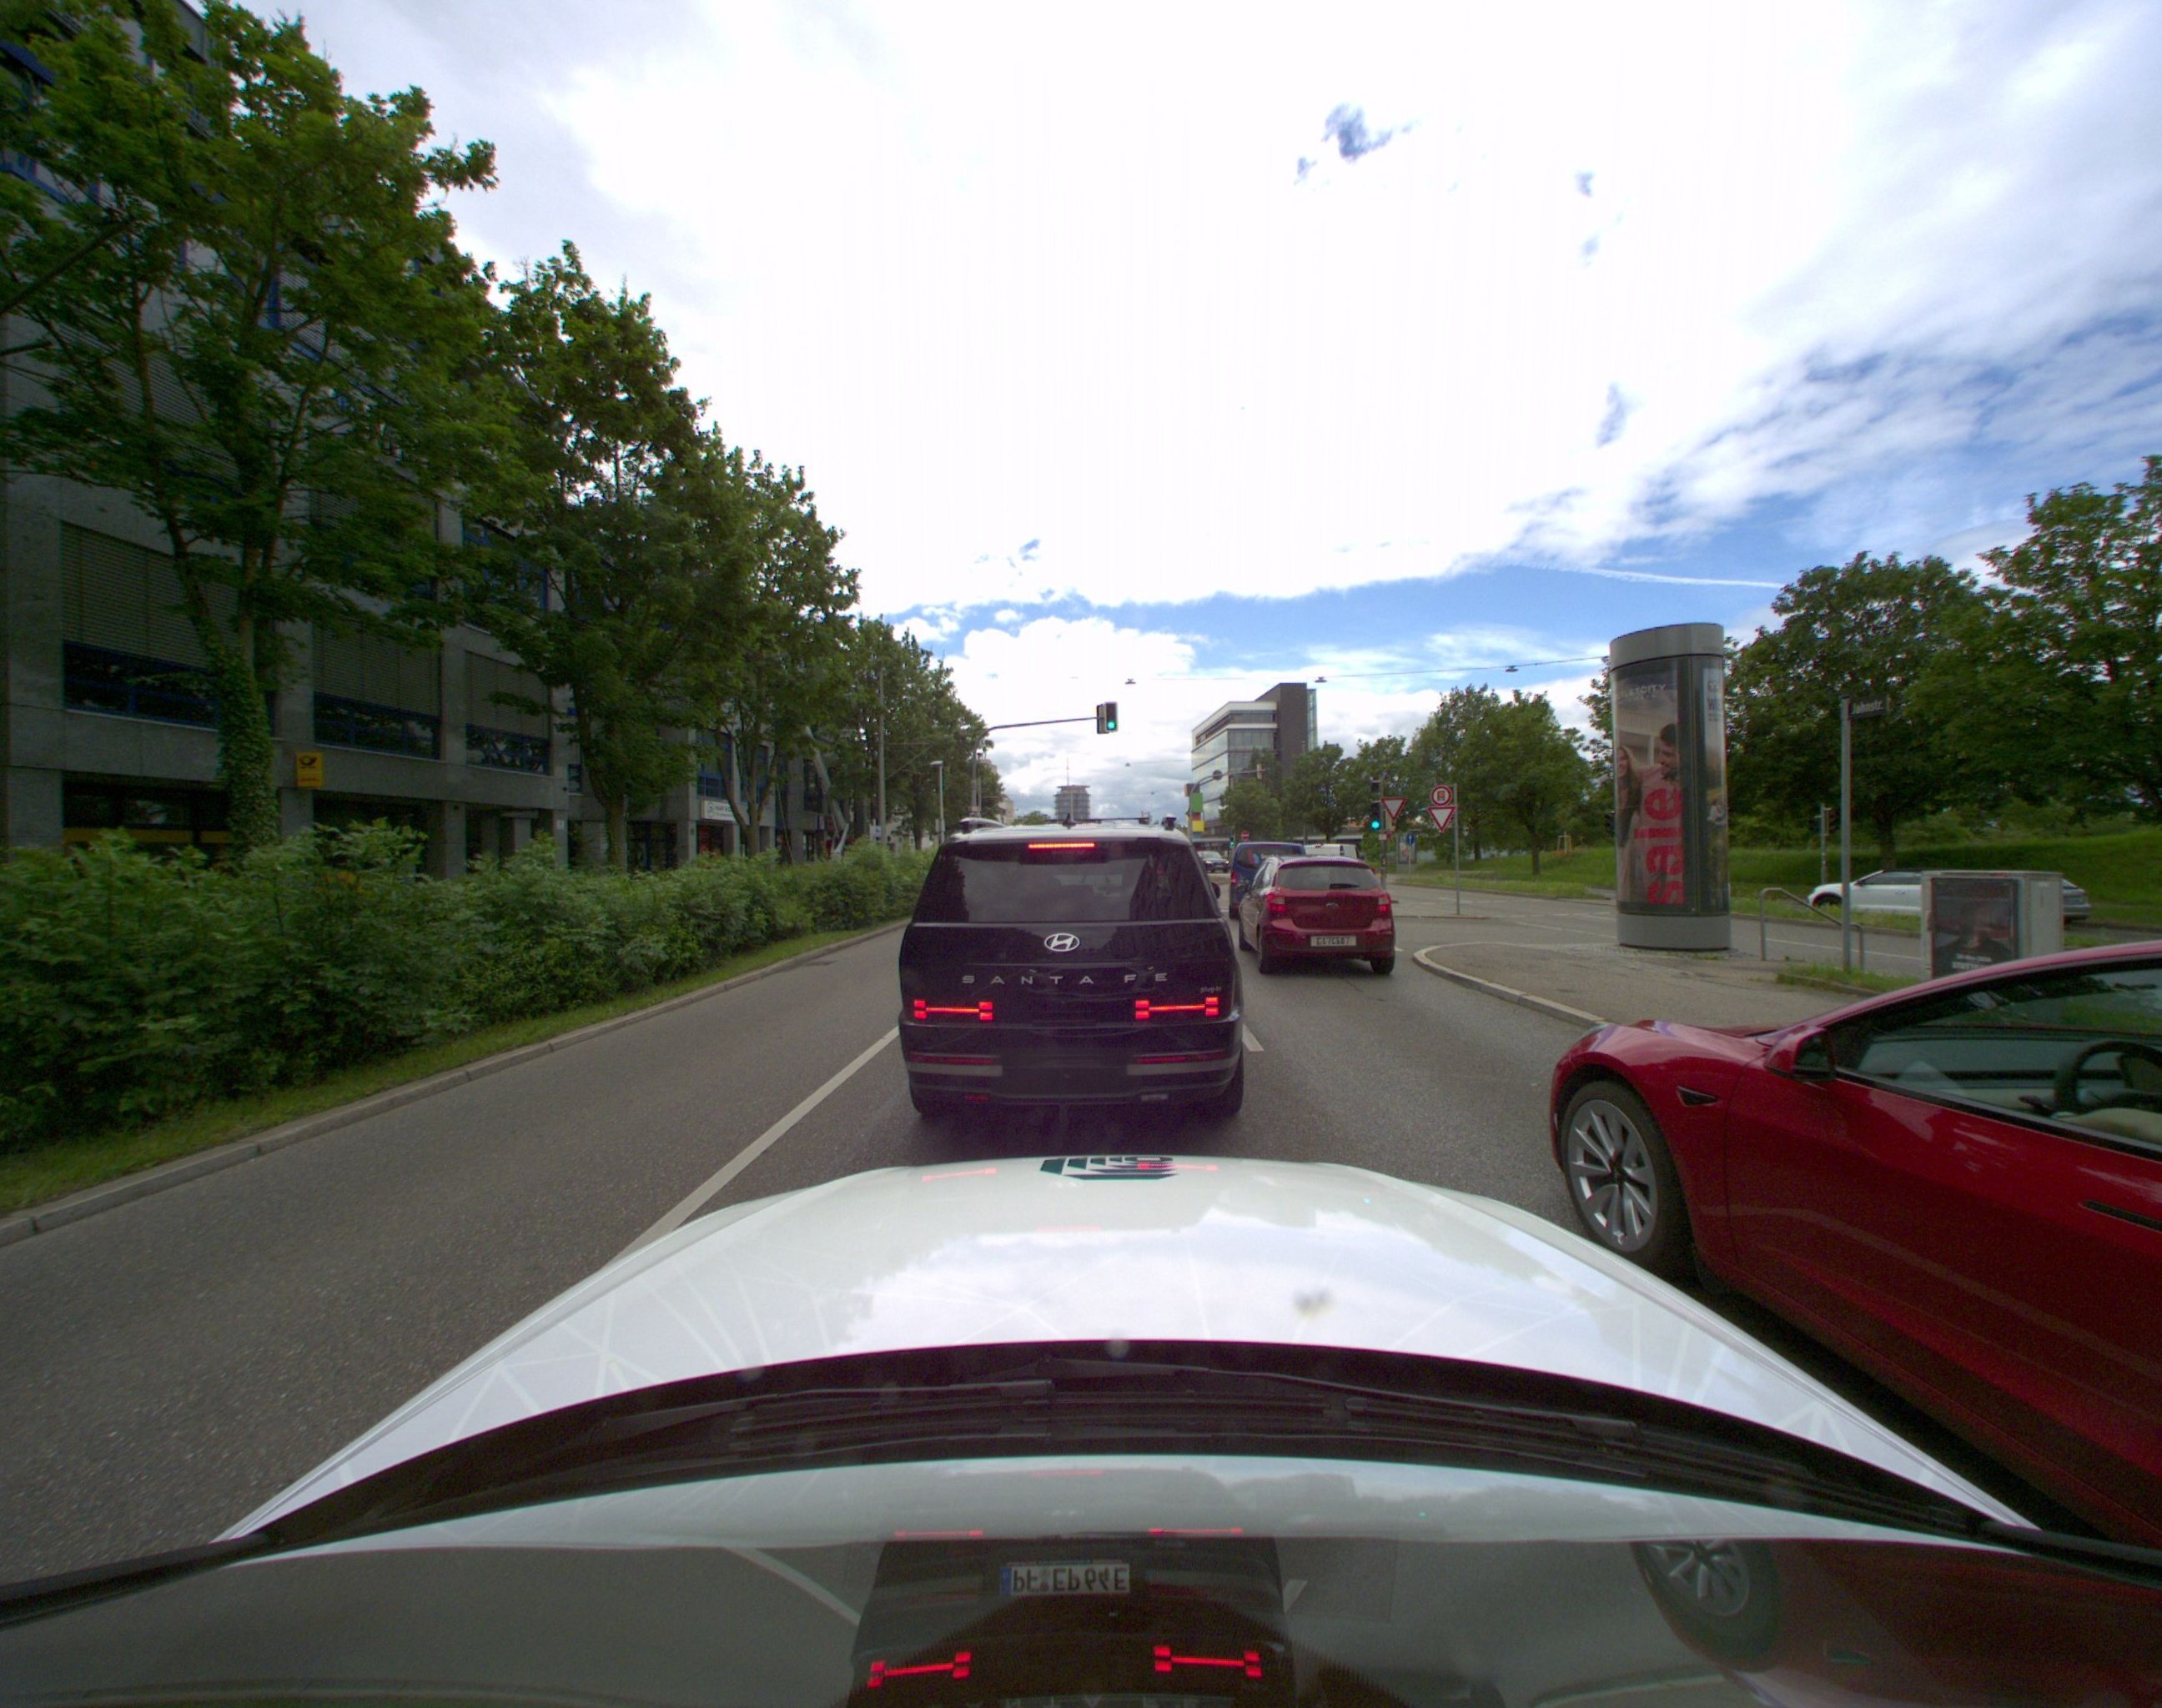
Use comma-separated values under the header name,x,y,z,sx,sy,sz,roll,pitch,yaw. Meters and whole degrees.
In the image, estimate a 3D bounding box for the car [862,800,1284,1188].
name,x,y,z,sx,sy,sz,roll,pitch,yaw
car,0.034,0.623,5.897,1.895,1.731,4.448,0,0,2

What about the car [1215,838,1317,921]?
name,x,y,z,sx,sy,sz,roll,pitch,yaw
car,4.572,0.575,20.761,1.893,1.859,4.715,0,0,5

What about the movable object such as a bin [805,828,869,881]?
name,x,y,z,sx,sy,sz,roll,pitch,yaw
movable object such as a bin,-12.235,-0.003,41.176,1.898,2.531,4.128,0,0,1

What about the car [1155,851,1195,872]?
name,x,y,z,sx,sy,sz,roll,pitch,yaw
car,6.706,0.522,58.689,1.782,1.425,4.382,0,1,-9

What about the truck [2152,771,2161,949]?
name,x,y,z,sx,sy,sz,roll,pitch,yaw
truck,26.223,0.157,13.865,2.821,3.925,9.420,0,0,-12

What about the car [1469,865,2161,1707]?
name,x,y,z,sx,sy,sz,roll,pitch,yaw
car,2.751,0.773,1.638,1.867,1.418,4.442,0,0,0

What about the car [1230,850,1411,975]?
name,x,y,z,sx,sy,sz,roll,pitch,yaw
car,3.177,0.690,11.532,1.737,1.481,3.723,0,0,4

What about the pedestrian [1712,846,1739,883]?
name,x,y,z,sx,sy,sz,roll,pitch,yaw
pedestrian,28.819,0.460,36.433,0.539,1.604,0.703,-5,1,2

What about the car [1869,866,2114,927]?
name,x,y,z,sx,sy,sz,roll,pitch,yaw
car,25.007,1.092,22.614,1.984,1.442,4.143,0,0,-11

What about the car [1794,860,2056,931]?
name,x,y,z,sx,sy,sz,roll,pitch,yaw
car,21.682,0.979,21.232,1.850,1.529,4.472,0,1,-11

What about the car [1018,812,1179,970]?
name,x,y,z,sx,sy,sz,roll,pitch,yaw
car,0.486,0.453,12.614,1.891,1.969,4.647,0,0,9

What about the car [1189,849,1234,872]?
name,x,y,z,sx,sy,sz,roll,pitch,yaw
car,9.546,0.448,59.907,1.889,1.564,4.380,0,1,-11

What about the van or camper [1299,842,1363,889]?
name,x,y,z,sx,sy,sz,roll,pitch,yaw
van or camper,11.073,0.440,35.864,1.975,1.917,4.435,0,1,27

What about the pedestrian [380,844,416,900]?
name,x,y,z,sx,sy,sz,roll,pitch,yaw
pedestrian,-16.447,0.426,19.623,0.364,1.334,0.558,2,0,-3

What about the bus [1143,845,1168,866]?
name,x,y,z,sx,sy,sz,roll,pitch,yaw
bus,12.120,0.323,133.153,2.958,3.116,9.238,-2,-1,-1
